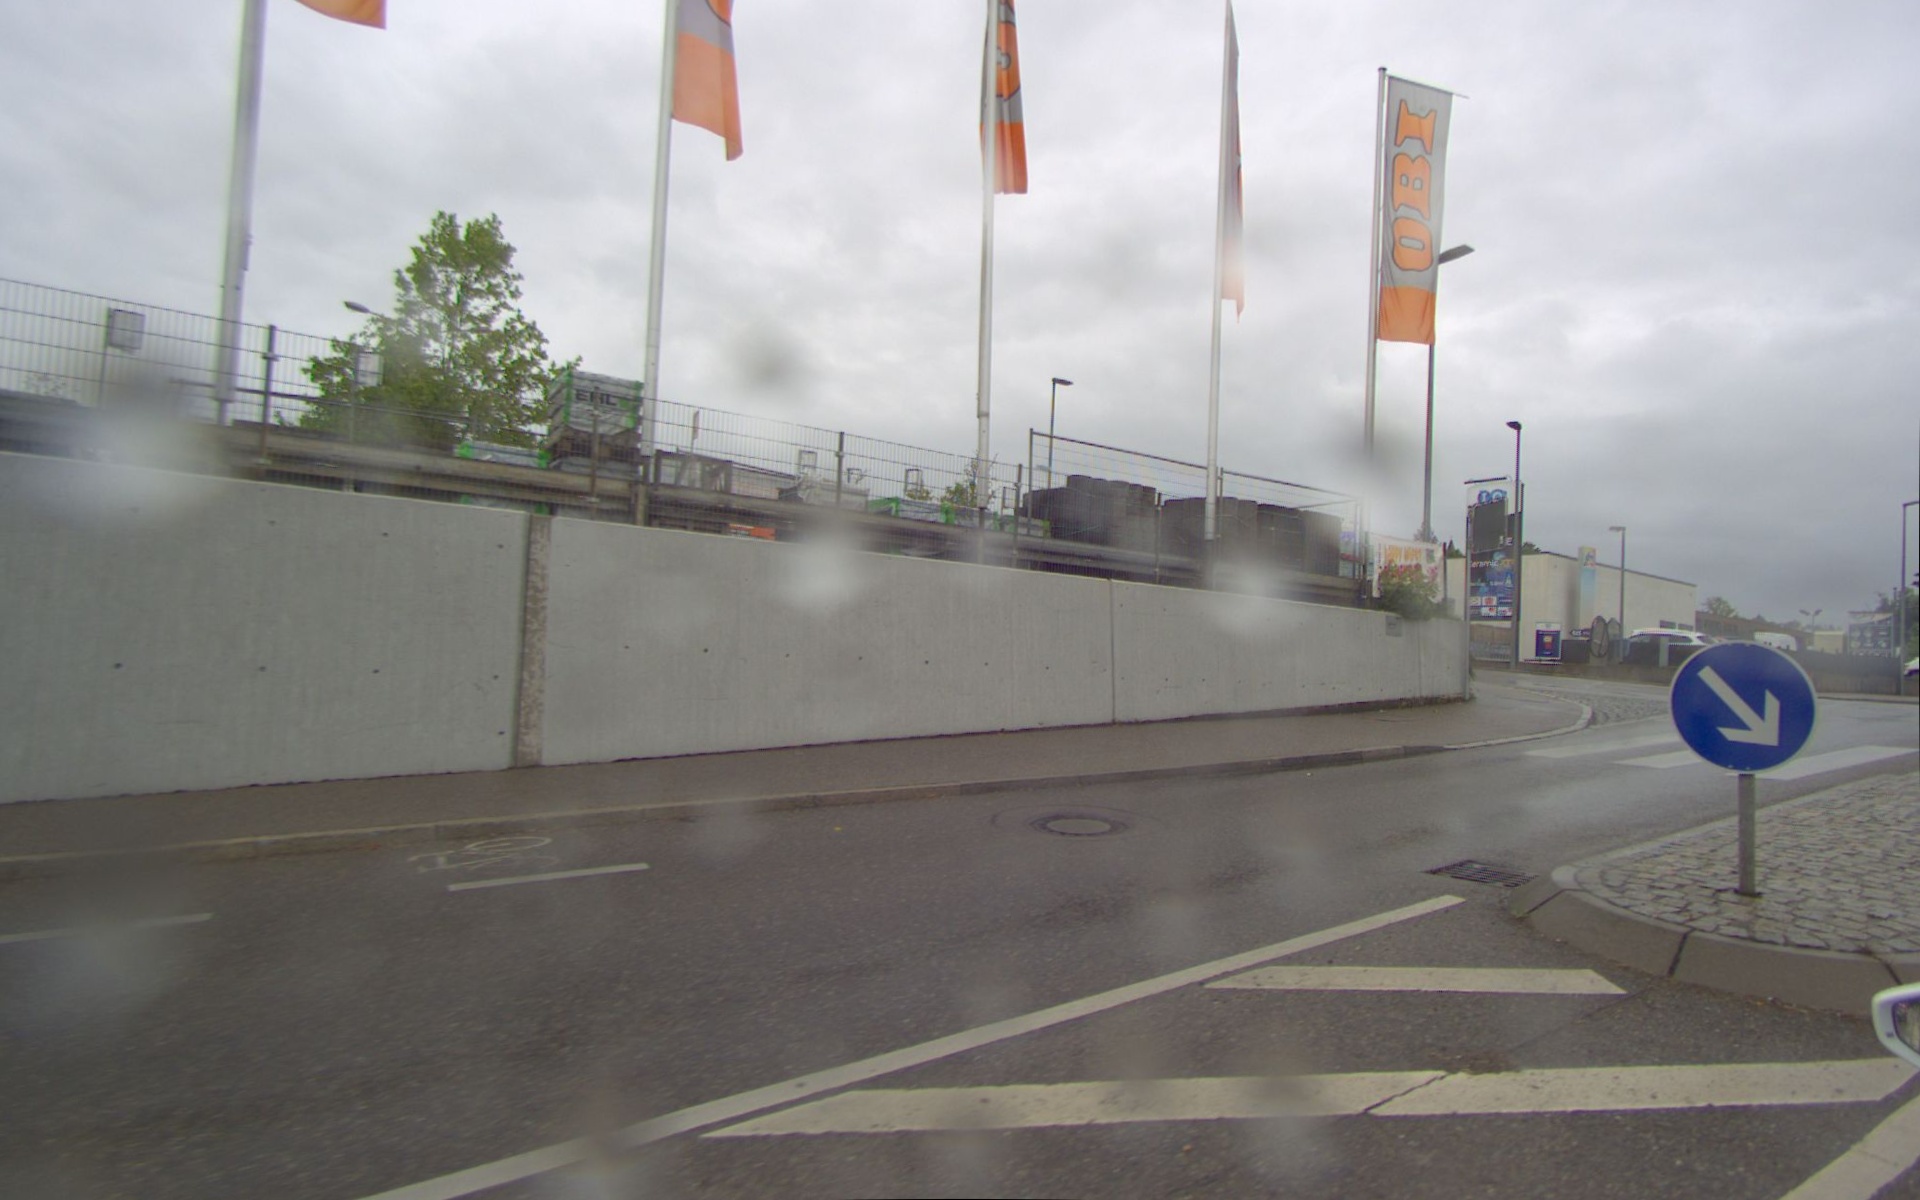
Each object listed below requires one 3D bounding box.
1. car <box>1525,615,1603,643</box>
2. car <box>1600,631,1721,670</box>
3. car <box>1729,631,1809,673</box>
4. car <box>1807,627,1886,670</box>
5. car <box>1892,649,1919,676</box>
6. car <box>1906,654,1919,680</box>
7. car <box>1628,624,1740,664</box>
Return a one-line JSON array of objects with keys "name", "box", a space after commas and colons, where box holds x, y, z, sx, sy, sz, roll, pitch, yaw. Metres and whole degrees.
[{"name": "car", "box": [33.947, 1.603, 56.522, 1.415, 1.439, 3.507, 1, 0, -35]}, {"name": "car", "box": [28.013, 1.991, 40.238, 1.981, 1.302, 3.507, 5, -2, -35]}, {"name": "car", "box": [41.696, 2.631, 51.742, 4.952, 2.040, 1.980, 1, 0, -36]}, {"name": "car", "box": [45.836, 2.458, 51.890, 4.950, 2.040, 1.980, 1, 0, -35]}, {"name": "car", "box": [55.495, 3.606, 56.732, 1.755, 1.438, 3.986, 5, -3, -40]}, {"name": "car", "box": [57.360, 3.984, 57.760, 1.751, 1.438, 3.995, 5, -2, -34]}, {"name": "car", "box": [30.044, 1.814, 41.774, 1.415, 1.438, 3.507, 5, -2, -34]}]
